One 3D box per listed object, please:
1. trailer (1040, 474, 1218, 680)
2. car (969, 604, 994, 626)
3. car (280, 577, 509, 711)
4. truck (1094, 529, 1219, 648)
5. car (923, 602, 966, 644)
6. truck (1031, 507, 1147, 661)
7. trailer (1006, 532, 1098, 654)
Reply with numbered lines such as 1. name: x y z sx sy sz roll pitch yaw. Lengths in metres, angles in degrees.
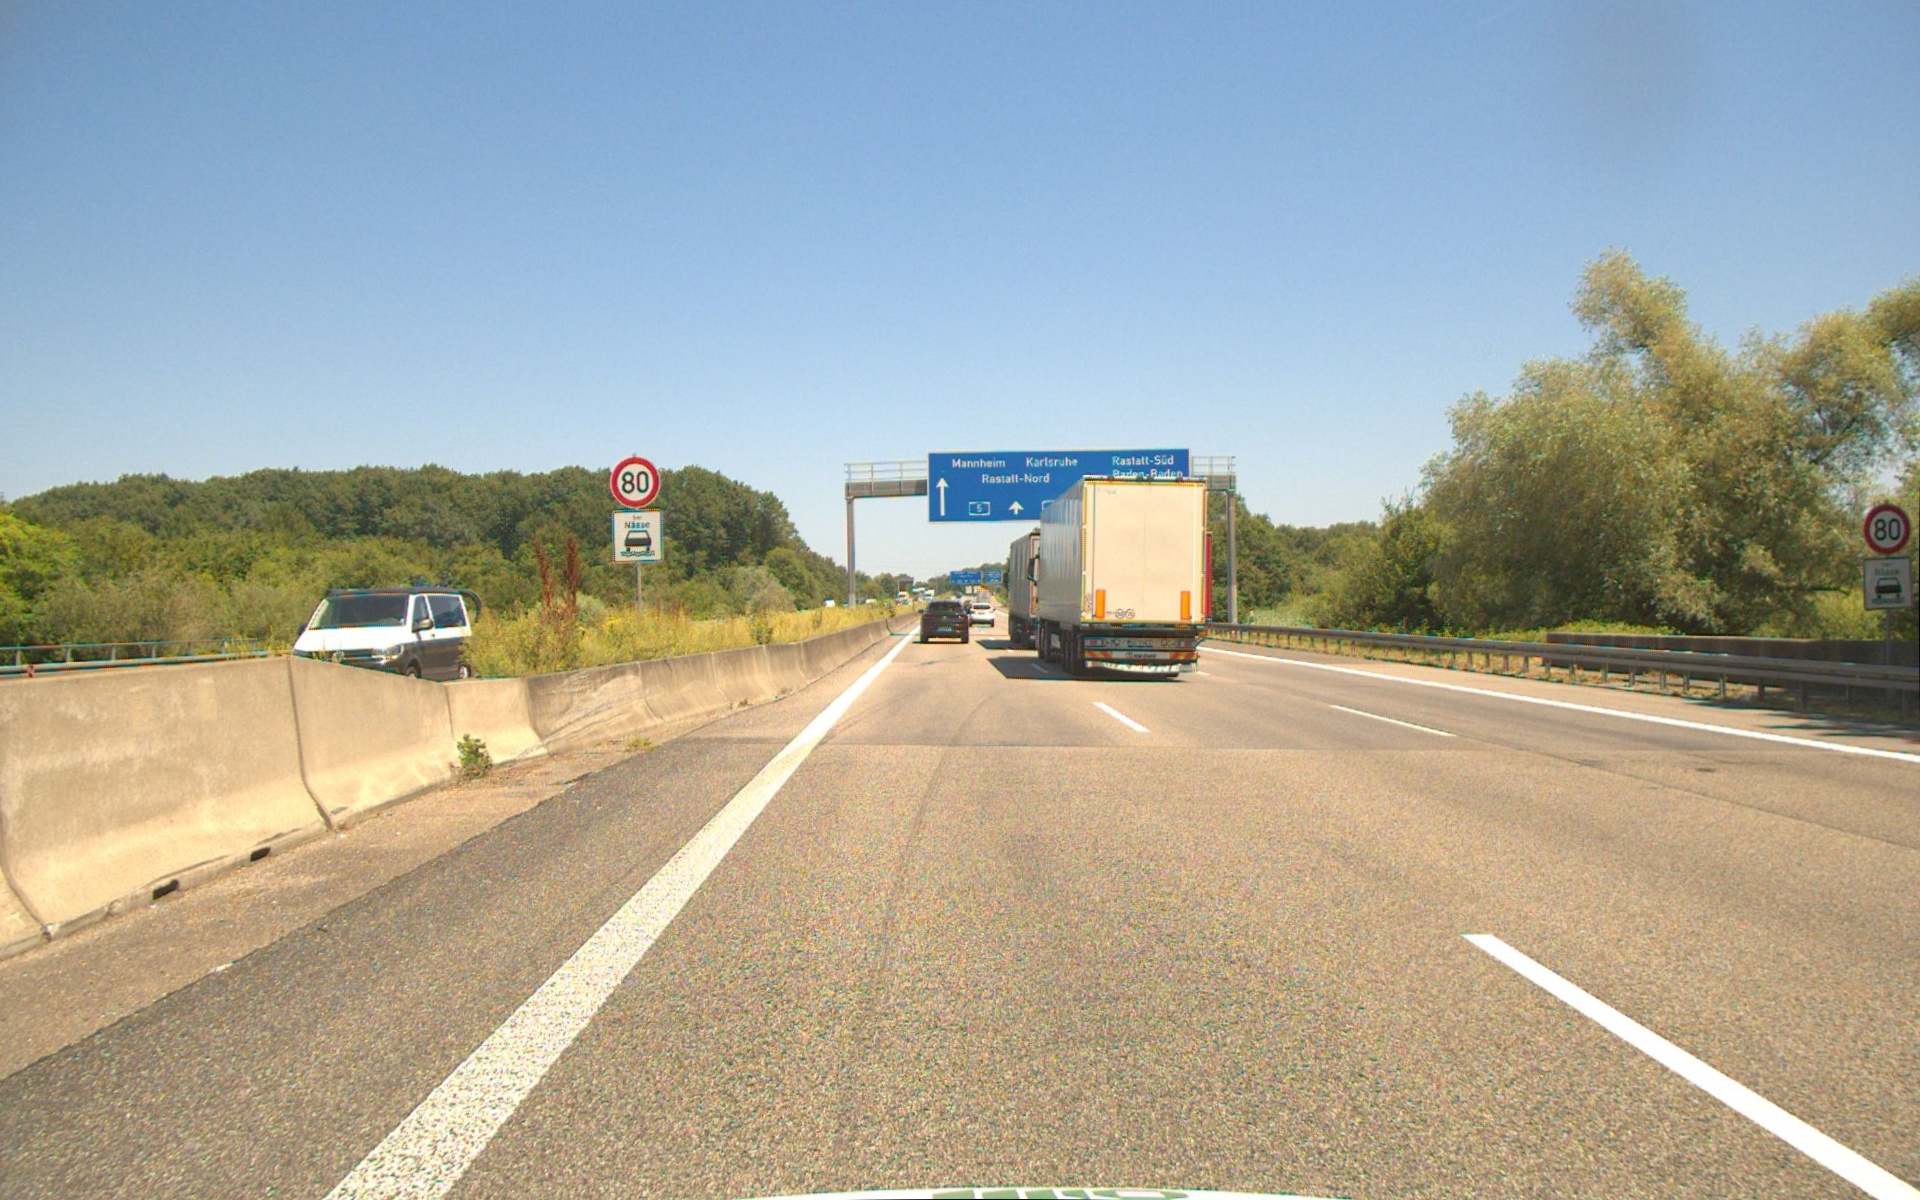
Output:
1. trailer: 3.668 -0.451 39.211 2.738 4.106 12.565 0 0 -1
2. car: 1.526 1.069 117.785 1.704 1.512 4.000 0 0 0
3. car: -9.847 0.699 29.451 1.953 2.049 6.221 -2 0 -1
4. truck: 7.468 -0.384 64.945 2.994 4.178 13.213 0 0 -2
5. car: -0.637 0.910 66.880 1.626 1.576 3.782 2 0 -2
6. truck: 3.548 -0.413 46.902 2.743 4.077 6.019 0 0 -1
7. trailer: 3.365 -0.174 63.964 2.652 4.139 14.743 0 -1 0
